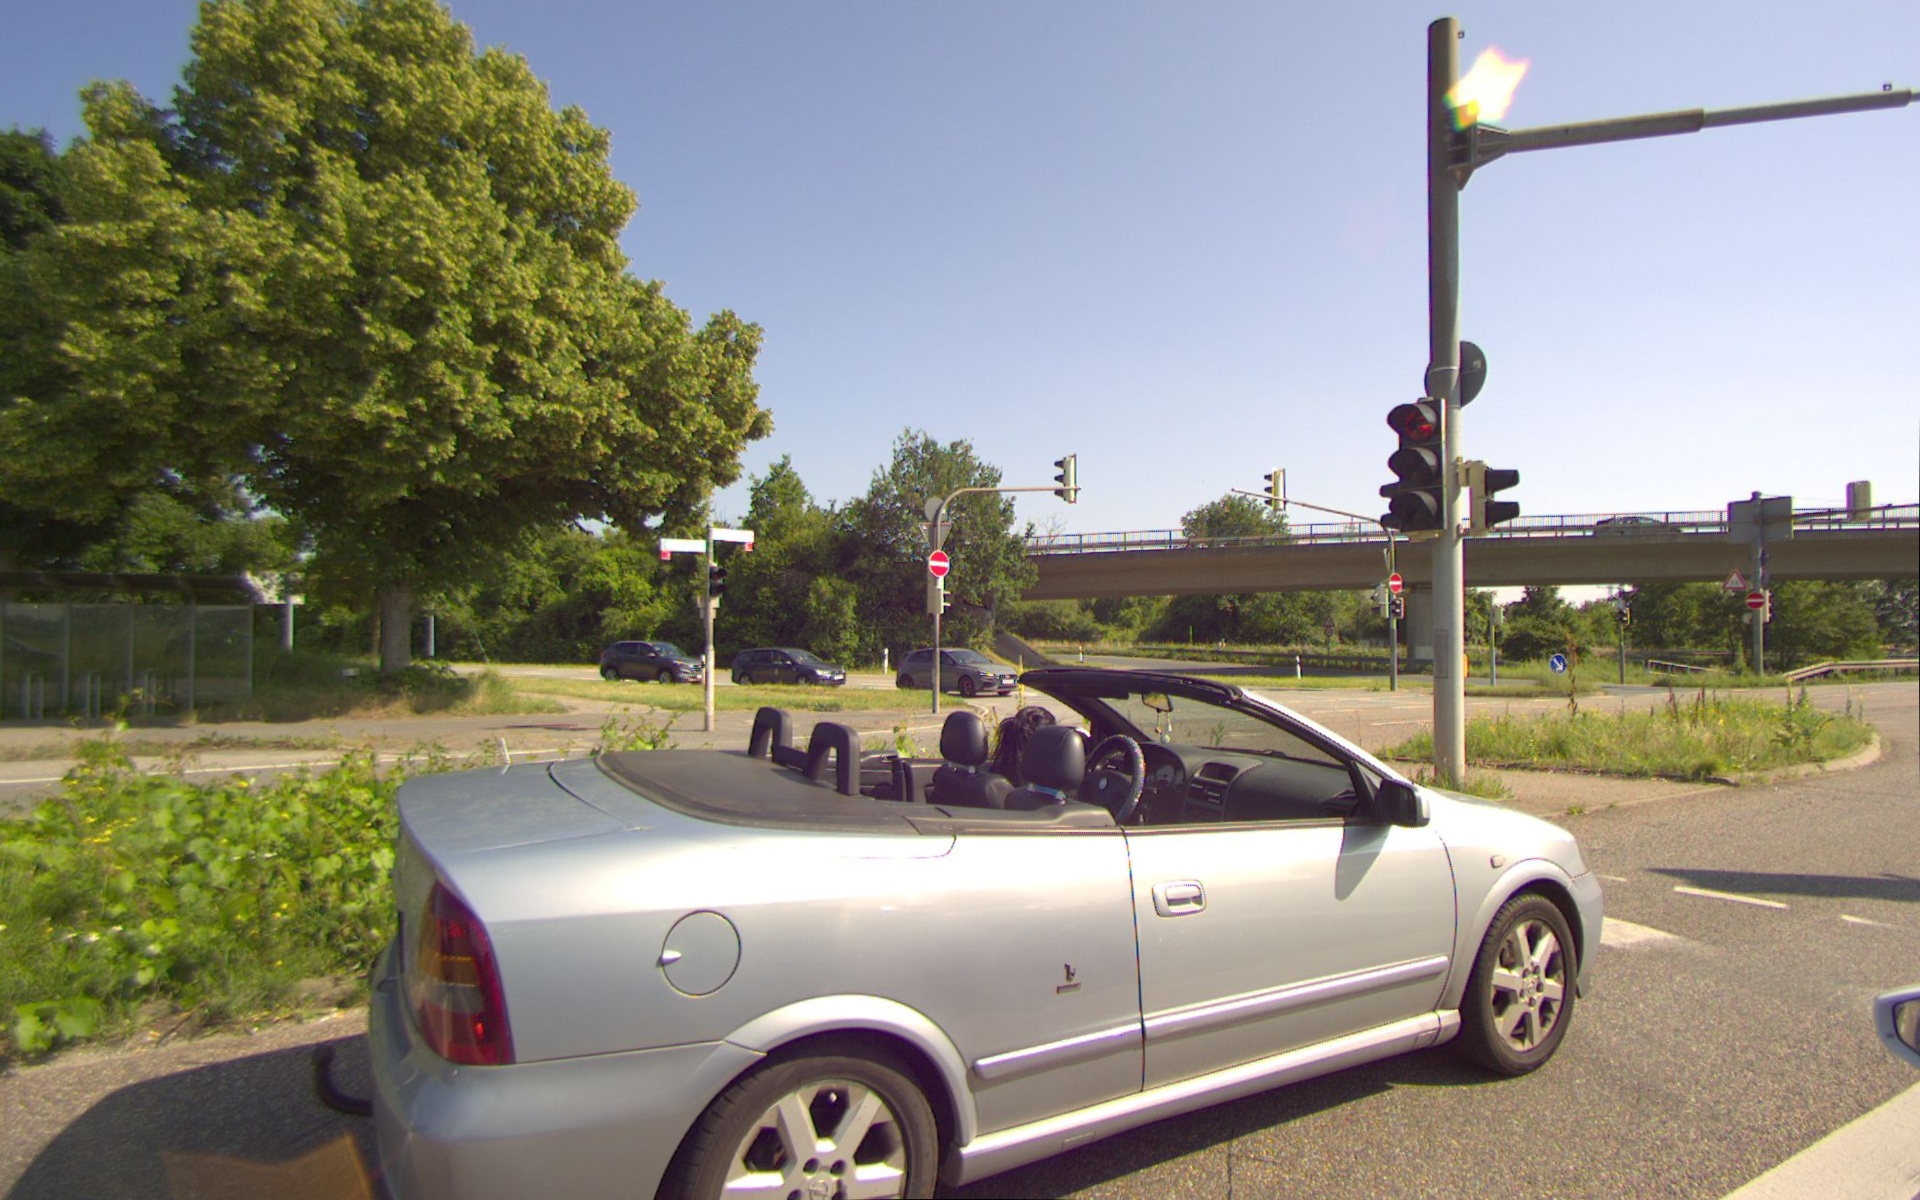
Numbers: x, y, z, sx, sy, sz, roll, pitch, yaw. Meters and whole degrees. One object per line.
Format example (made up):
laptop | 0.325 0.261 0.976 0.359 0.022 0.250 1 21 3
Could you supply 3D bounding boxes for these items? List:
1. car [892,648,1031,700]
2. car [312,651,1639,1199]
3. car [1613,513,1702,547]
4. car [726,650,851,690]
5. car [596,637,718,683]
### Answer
car | 0.013 2.219 30.799 4.066 1.443 1.862 -2 -3 41
car | 0.306 0.862 3.363 4.049 1.352 1.666 1 -3 -30
car | 35.498 -3.534 51.187 3.322 1.497 1.543 0 -3 10
car | -6.015 2.419 35.125 4.276 1.297 1.648 -1 -2 30
car | -11.350 2.217 37.632 4.270 1.616 1.651 -1 -2 22
